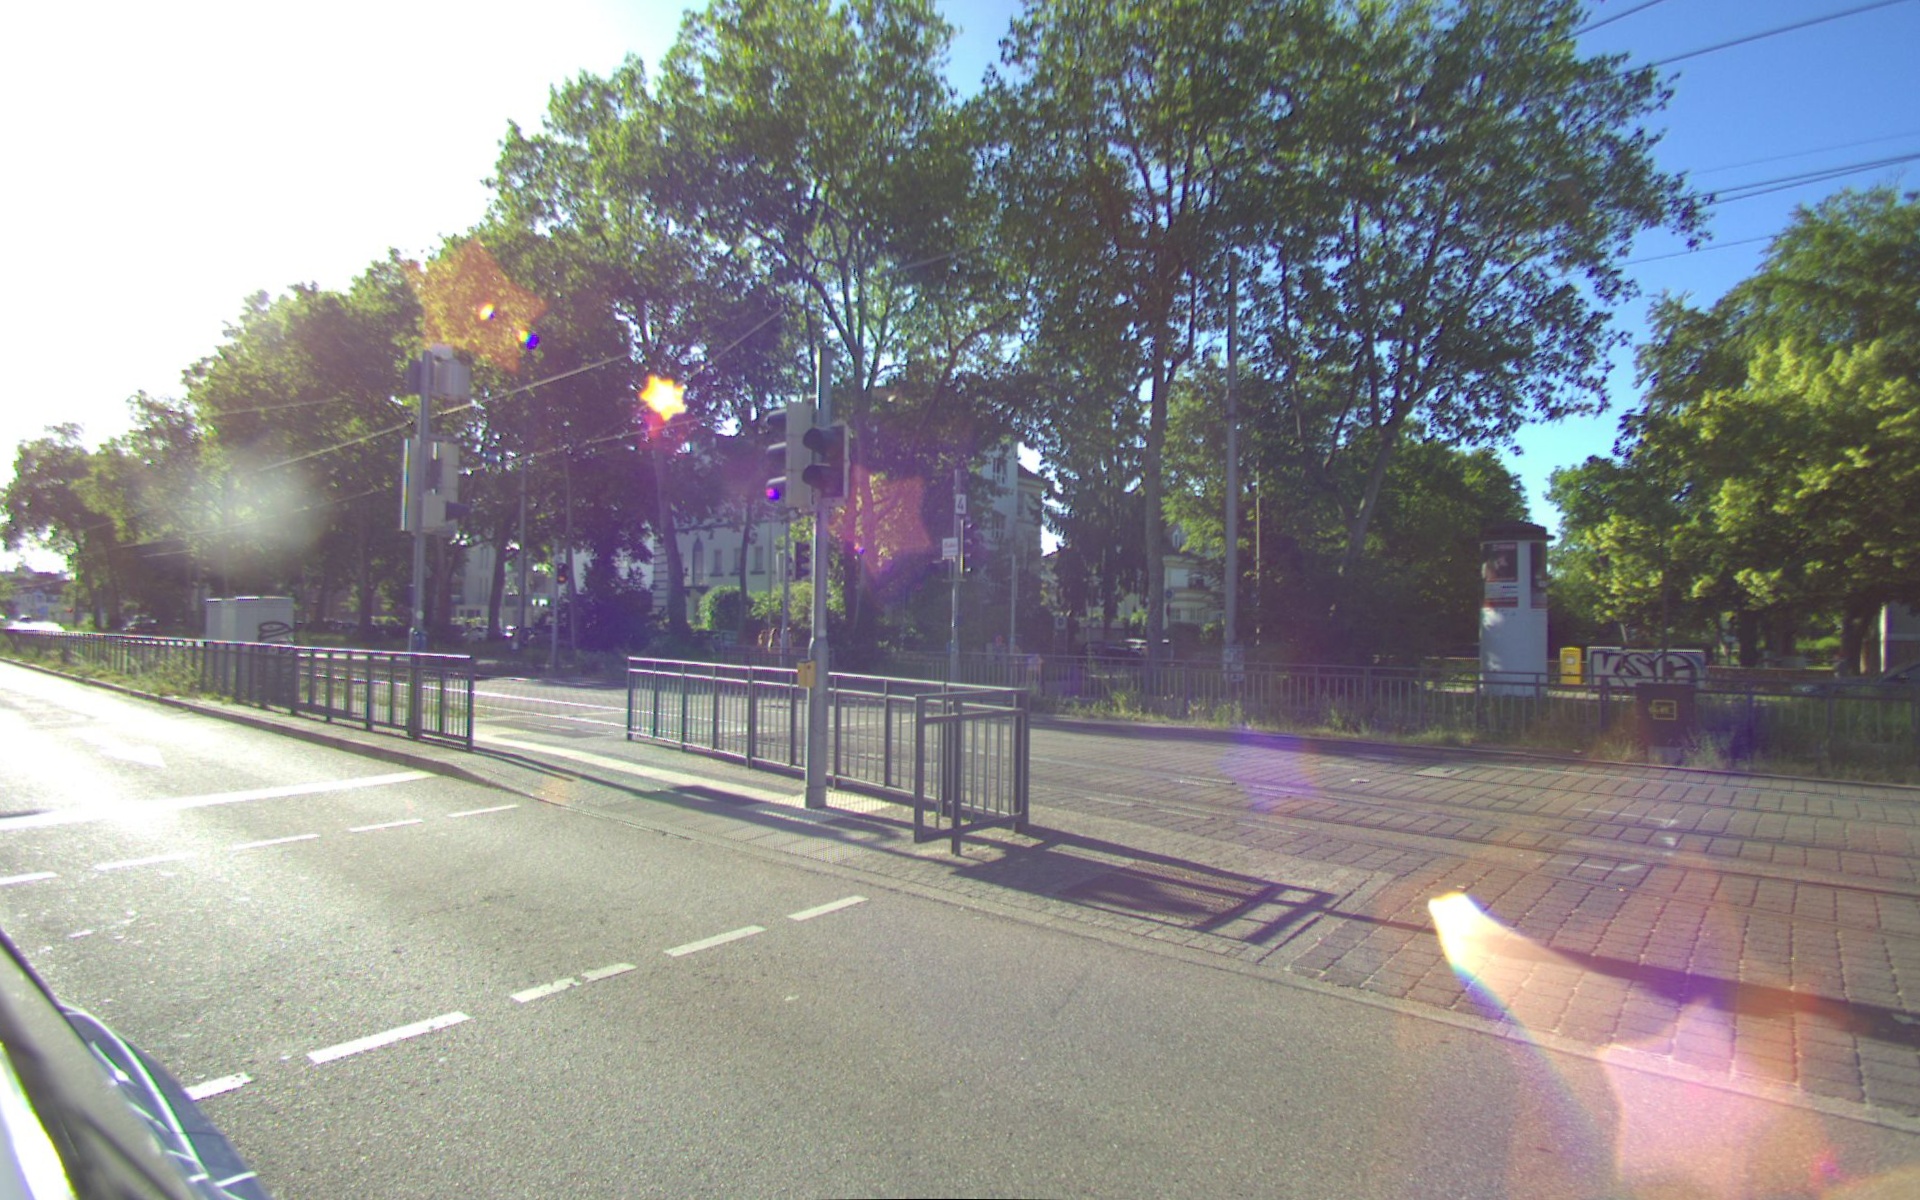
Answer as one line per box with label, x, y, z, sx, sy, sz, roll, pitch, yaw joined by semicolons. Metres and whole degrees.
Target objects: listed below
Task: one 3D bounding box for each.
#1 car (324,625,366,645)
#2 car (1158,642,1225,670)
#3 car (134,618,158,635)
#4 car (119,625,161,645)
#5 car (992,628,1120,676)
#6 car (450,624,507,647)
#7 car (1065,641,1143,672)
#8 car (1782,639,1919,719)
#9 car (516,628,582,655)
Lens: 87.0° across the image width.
car;-49.028;2.772;80.660;3.999;1.484;1.778;-1;-2;42
car;12.913;3.104;56.295;2.000;1.429;3.944;-1;-2;42
car;-101.353;3.283;125.949;1.970;2.029;4.003;-2;0;-44
car;-62.718;2.643;77.384;4.338;1.510;1.667;-1;-2;39
car;3.214;1.714;34.265;4.142;1.521;1.652;-1;-2;41
car;-30.312;2.226;63.661;4.460;1.334;1.623;-1;-4;42
car;7.207;2.775;50.513;2.000;1.429;3.944;-1;-2;42
car;19.088;1.557;20.189;4.142;1.521;1.652;-1;-2;41
car;-23.234;2.333;57.122;4.318;1.451;1.717;-1;-2;42
